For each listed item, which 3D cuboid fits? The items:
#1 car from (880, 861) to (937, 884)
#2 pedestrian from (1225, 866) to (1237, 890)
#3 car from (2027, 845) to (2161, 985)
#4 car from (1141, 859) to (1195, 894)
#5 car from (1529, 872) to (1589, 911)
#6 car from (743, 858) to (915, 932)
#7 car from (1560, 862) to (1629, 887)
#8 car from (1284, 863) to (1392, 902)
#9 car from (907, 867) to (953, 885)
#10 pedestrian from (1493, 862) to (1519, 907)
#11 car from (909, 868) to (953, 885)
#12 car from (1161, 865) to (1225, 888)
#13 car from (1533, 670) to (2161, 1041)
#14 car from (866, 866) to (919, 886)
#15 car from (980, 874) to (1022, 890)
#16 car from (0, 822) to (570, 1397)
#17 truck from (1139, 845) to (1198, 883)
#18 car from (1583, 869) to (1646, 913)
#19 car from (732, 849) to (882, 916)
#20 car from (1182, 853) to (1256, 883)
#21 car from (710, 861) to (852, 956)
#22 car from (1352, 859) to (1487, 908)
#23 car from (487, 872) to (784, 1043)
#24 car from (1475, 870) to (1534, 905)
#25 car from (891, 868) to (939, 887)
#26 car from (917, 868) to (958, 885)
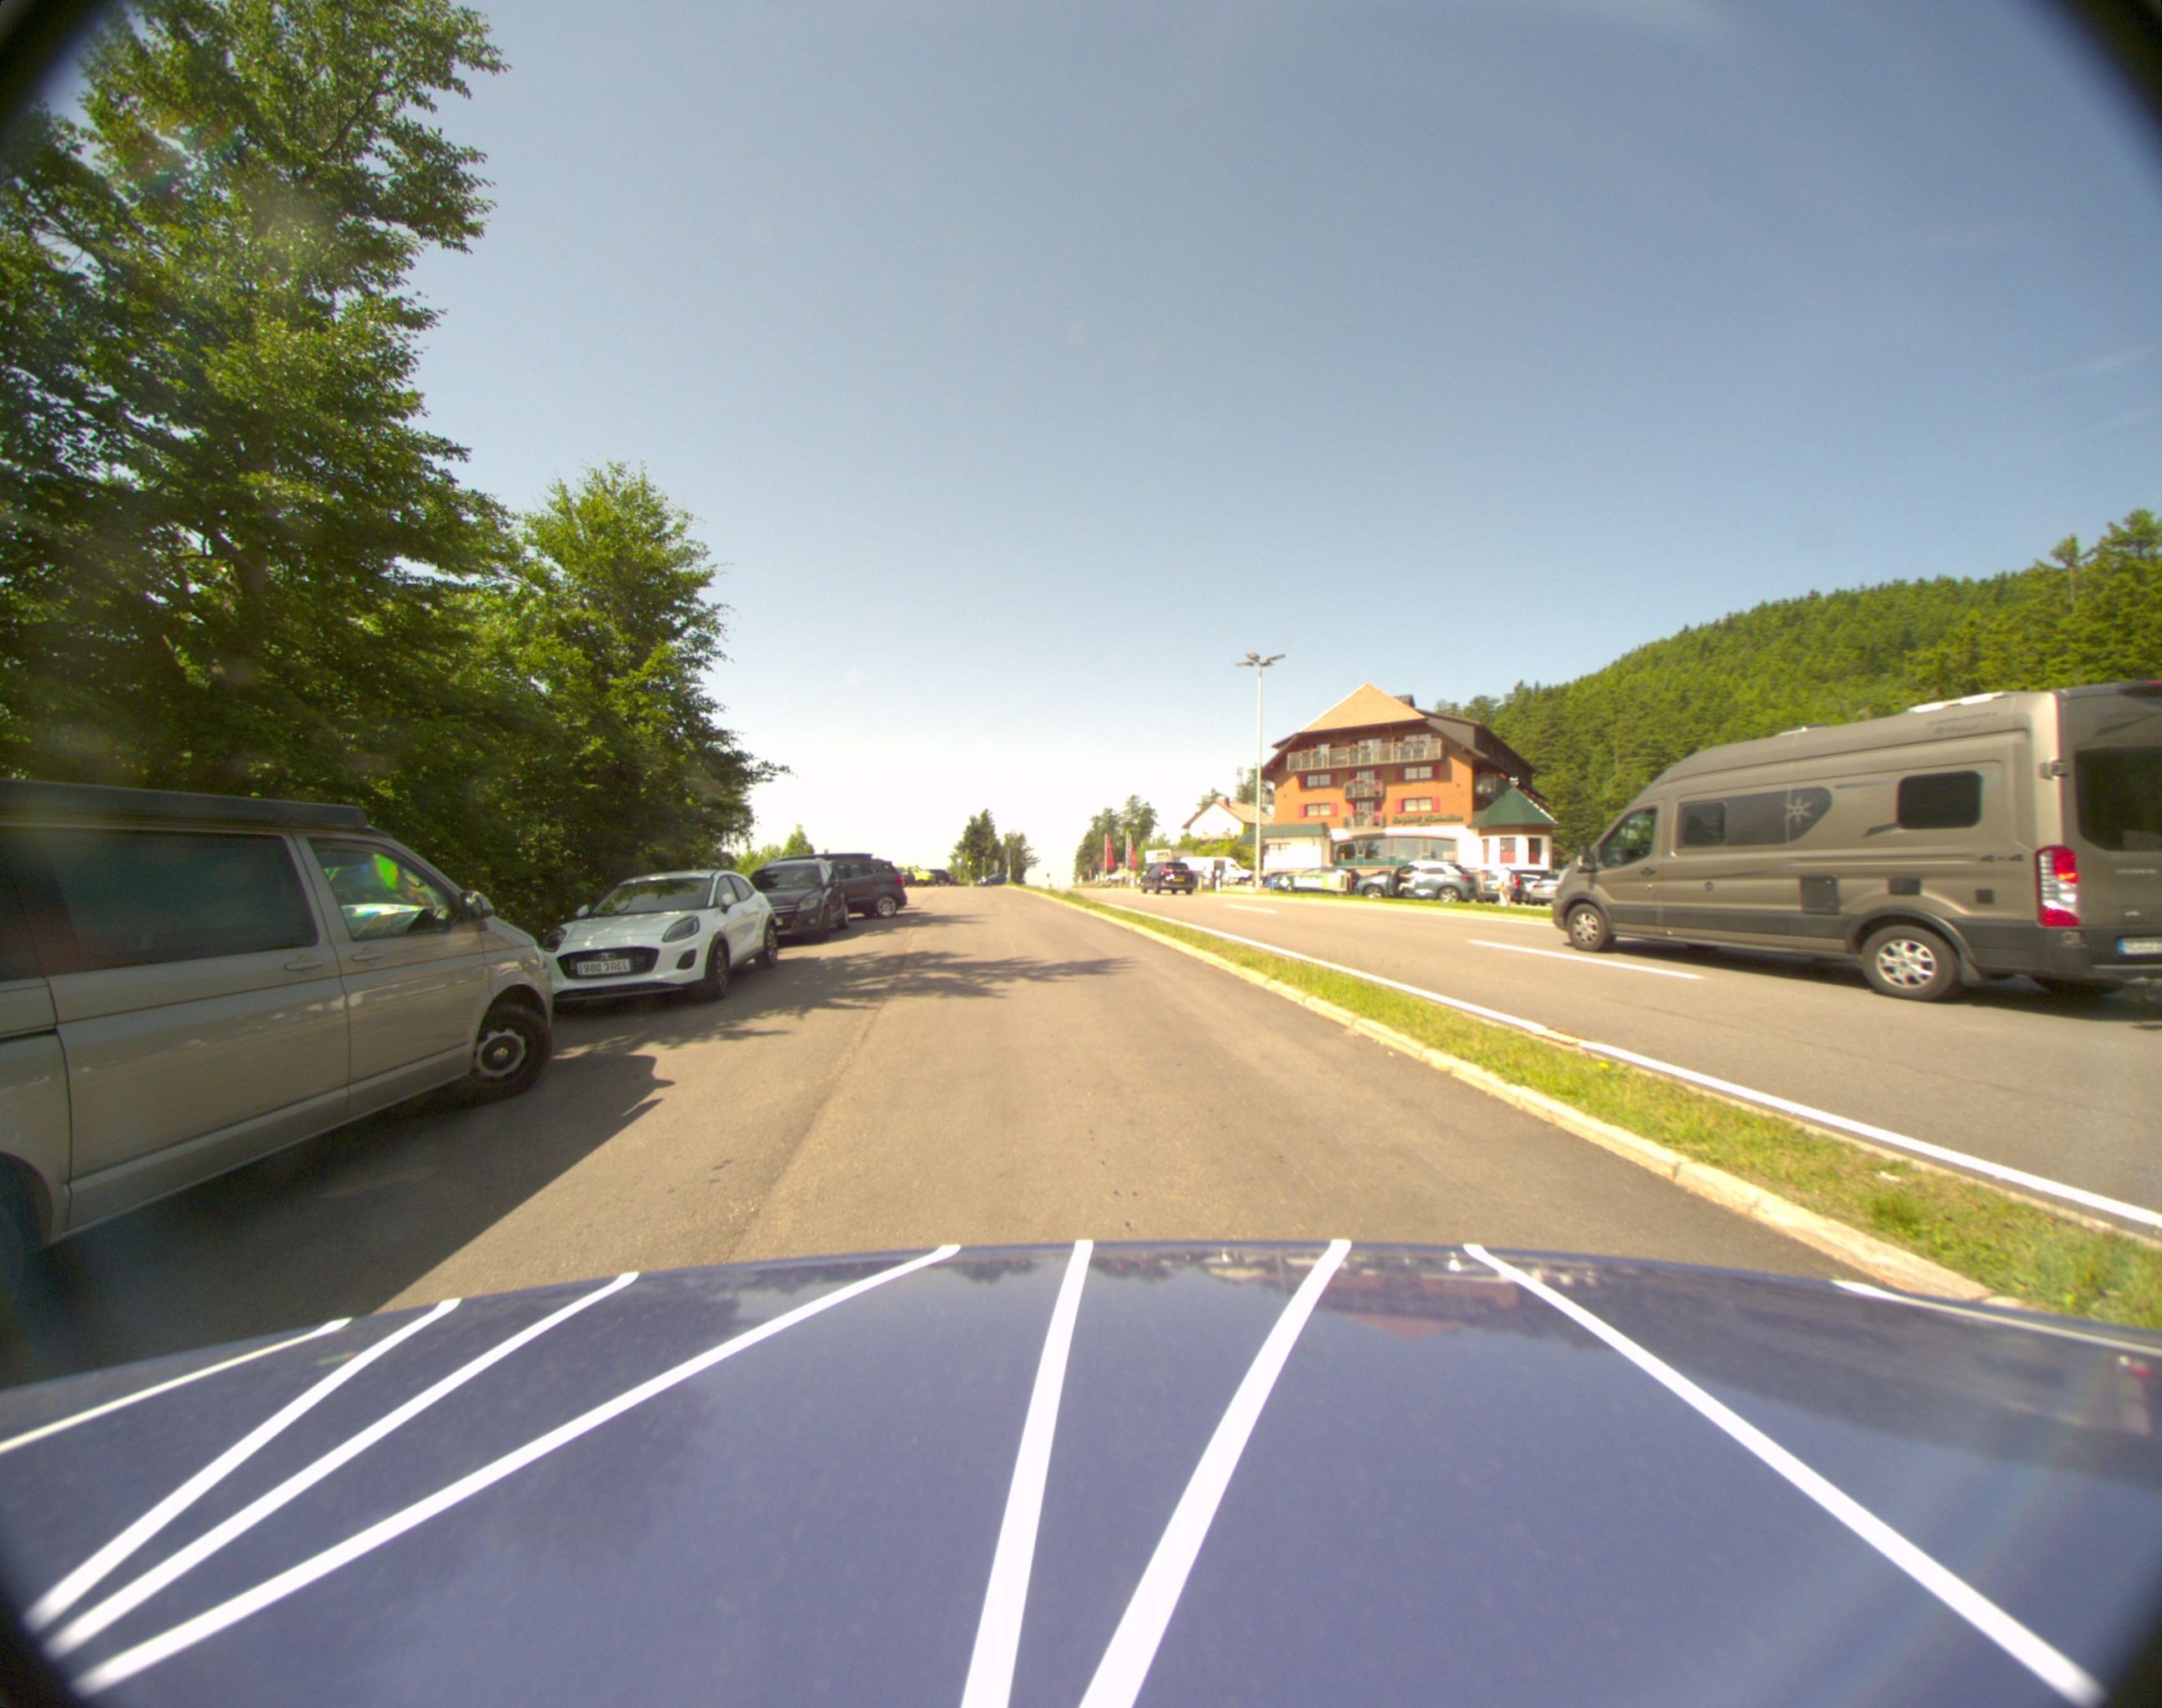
[{"bbox_3d":[-14.303,1.531,63.306,4.459,1.914,1.875,0,0,-6],"label":"car"},{"bbox_3d":[11.771,1.850,59.713,0.672,1.853,0.753,0,0,31],"label":"pedestrian"},{"bbox_3d":[14.738,0.741,8.720,4.539,1.646,1.726,0,0,33],"label":"car"},{"bbox_3d":[4.320,1.080,38.282,1.722,1.672,4.127,0,0,-8],"label":"car"},{"bbox_3d":[20.436,1.532,32.433,1.819,1.504,4.104,1,0,37],"label":"car"},{"bbox_3d":[-6.726,1.035,20.319,4.005,1.609,1.872,-3,0,-28],"label":"car"},{"bbox_3d":[37.697,1.491,55.822,4.083,1.705,1.925,0,0,35],"label":"car"},{"bbox_3d":[11.534,1.232,34.157,4.259,1.619,1.828,0,0,34],"label":"car"},{"bbox_3d":[-13.794,1.987,69.495,3.912,1.605,1.875,0,0,-6],"label":"car"},{"bbox_3d":[15.701,1.110,28.088,0.744,1.615,0.684,0,0,21],"label":"pedestrian"},{"bbox_3d":[-14.184,2.110,72.074,3.912,1.605,1.875,0,0,-6],"label":"car"},{"bbox_3d":[7.973,1.576,54.255,4.083,1.518,1.828,0,0,30],"label":"car"},{"bbox_3d":[8.155,0.039,8.654,2.017,2.735,5.914,0,0,-6],"label":"car"},{"bbox_3d":[-14.965,1.742,60.466,3.912,1.605,1.875,0,0,-6],"label":"car"},{"bbox_3d":[-8.269,2.867,78.858,3.920,1.605,1.871,1,0,-34],"label":"car"},{"bbox_3d":[-4.677,0.912,3.418,1.862,1.924,4.607,-4,0,-5],"label":"car"},{"bbox_3d":[9.487,1.107,81.003,2.877,3.798,9.035,-2,-1,29],"label":"truck"},{"bbox_3d":[20.390,1.350,28.987,1.819,1.504,4.104,1,0,37],"label":"car"},{"bbox_3d":[-9.308,0.922,25.875,4.466,1.914,1.872,-3,0,-28],"label":"car"},{"bbox_3d":[13.459,1.350,74.217,6.954,2.774,2.669,0,0,10],"label":"car"},{"bbox_3d":[-6.077,1.009,15.898,1.876,1.609,3.997,-3,0,-9],"label":"car"},{"bbox_3d":[12.334,1.035,27.782,4.259,1.619,1.828,0,0,34],"label":"car"},{"bbox_3d":[-5.271,1.082,9.707,1.876,1.538,3.997,-3,0,-9],"label":"car"},{"bbox_3d":[19.622,1.495,35.120,1.819,1.504,4.104,1,0,37],"label":"car"},{"bbox_3d":[-14.525,2.043,66.523,3.912,1.605,1.875,0,0,-6],"label":"car"},{"bbox_3d":[-14.337,2.259,76.142,3.912,1.605,1.875,0,0,-6],"label":"car"}]
